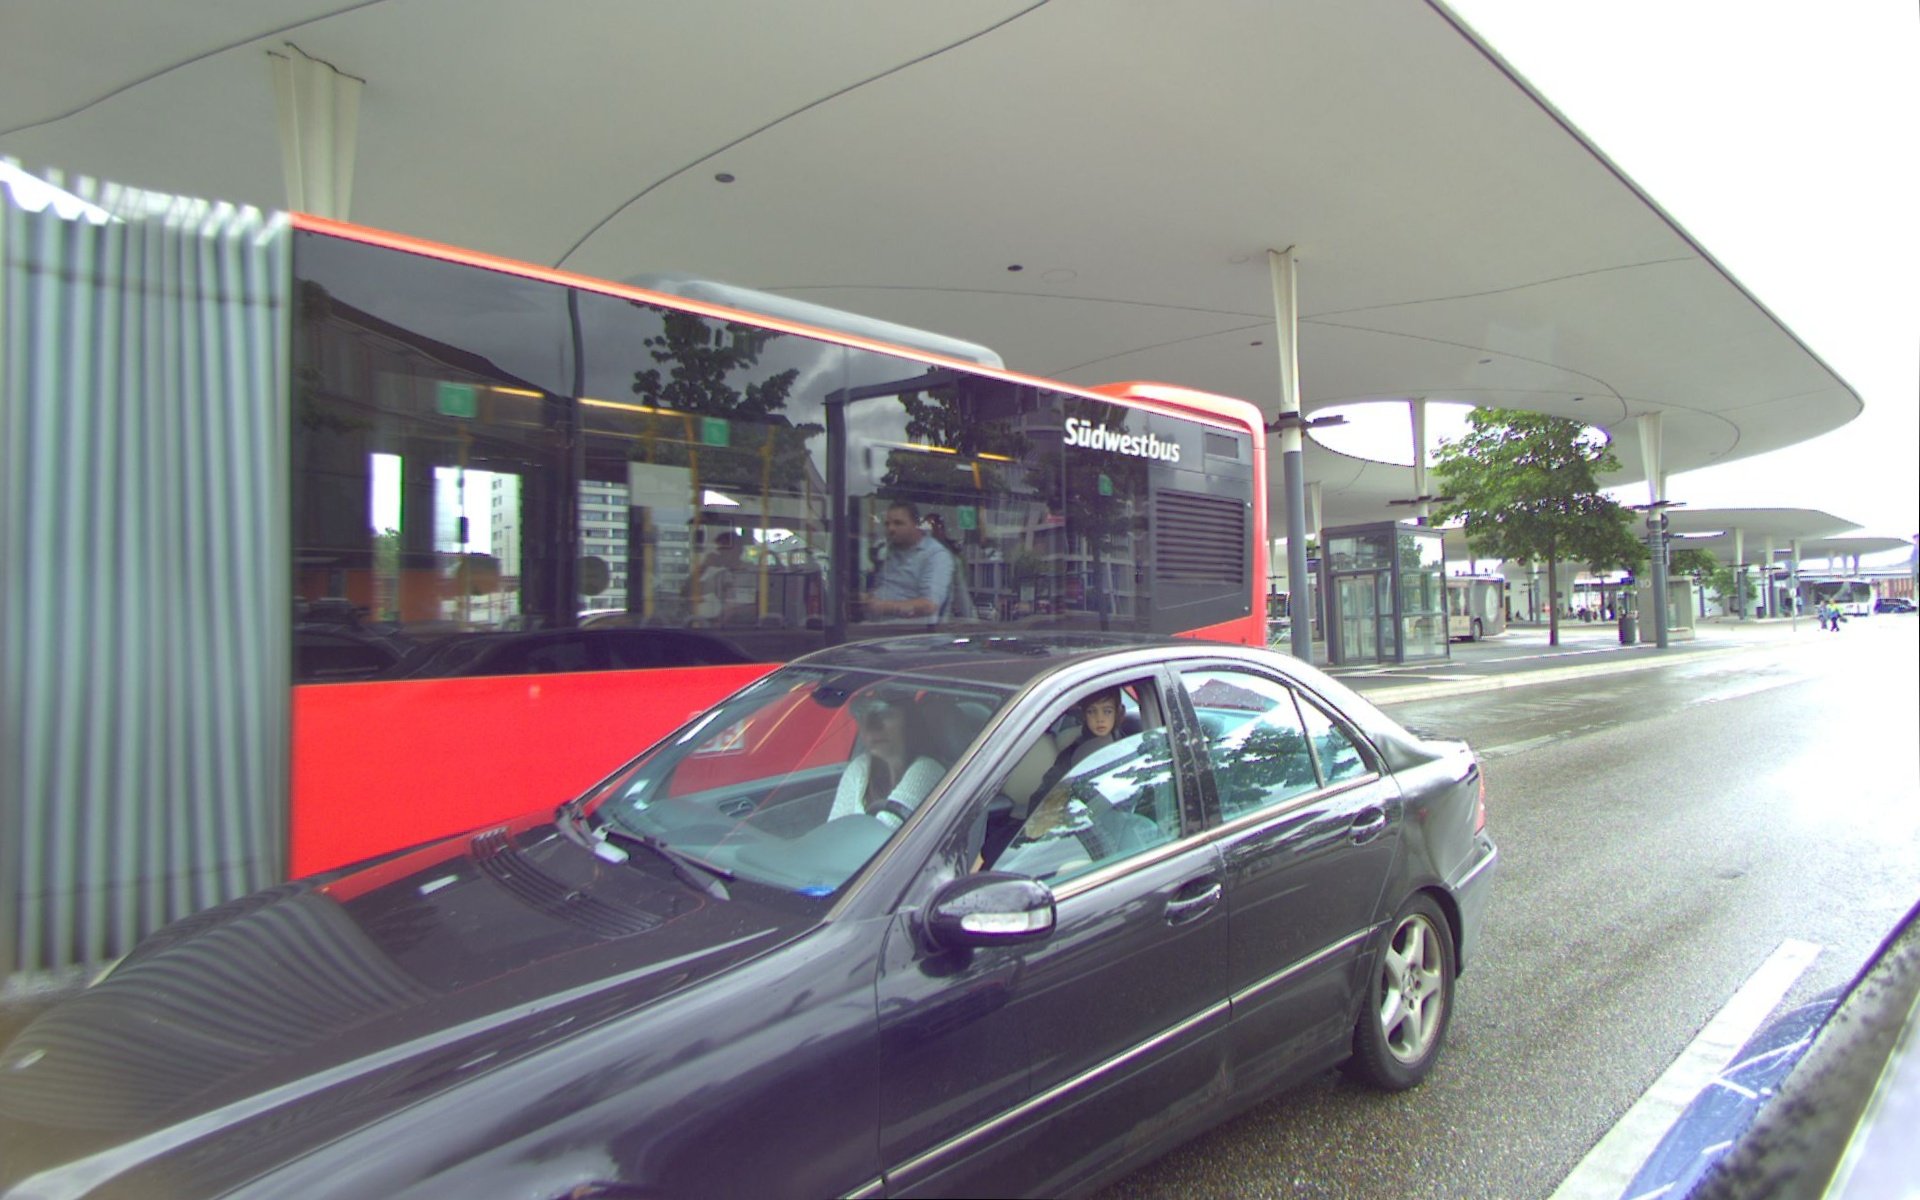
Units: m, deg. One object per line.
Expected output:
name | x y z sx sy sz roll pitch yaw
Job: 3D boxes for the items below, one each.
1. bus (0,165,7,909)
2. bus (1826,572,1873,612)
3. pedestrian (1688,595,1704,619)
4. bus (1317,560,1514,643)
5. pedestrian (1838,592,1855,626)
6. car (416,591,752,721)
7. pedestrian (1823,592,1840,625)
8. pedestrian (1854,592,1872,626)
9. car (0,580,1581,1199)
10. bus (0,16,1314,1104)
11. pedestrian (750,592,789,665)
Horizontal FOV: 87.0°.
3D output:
bus | -7.448 -0.187 0.550 10.023 3.214 2.745 0 0 -43
bus | 75.371 -0.674 85.711 2.666 3.169 9.565 -1 -1 43
pedestrian | 51.238 0.461 70.466 0.740 1.651 0.723 0 -1 -41
bus | 19.951 0.033 43.722 12.140 3.146 3.000 0 -1 -41
pedestrian | 44.412 0.448 50.693 0.543 1.645 0.556 0 -1 -41
car | -5.512 0.751 15.135 4.356 1.671 1.803 0 -3 -41
pedestrian | 44.162 0.420 51.281 0.577 1.645 0.576 0 -1 -41
pedestrian | 44.779 0.448 50.184 0.543 1.645 0.556 0 -1 -41
car | 0.027 0.793 2.989 4.358 1.499 1.747 -2 -3 -41
bus | -0.950 -0.135 6.614 7.983 3.214 2.746 0 0 -43
pedestrian | -4.593 0.673 24.382 0.680 1.728 0.658 0 -1 -40
